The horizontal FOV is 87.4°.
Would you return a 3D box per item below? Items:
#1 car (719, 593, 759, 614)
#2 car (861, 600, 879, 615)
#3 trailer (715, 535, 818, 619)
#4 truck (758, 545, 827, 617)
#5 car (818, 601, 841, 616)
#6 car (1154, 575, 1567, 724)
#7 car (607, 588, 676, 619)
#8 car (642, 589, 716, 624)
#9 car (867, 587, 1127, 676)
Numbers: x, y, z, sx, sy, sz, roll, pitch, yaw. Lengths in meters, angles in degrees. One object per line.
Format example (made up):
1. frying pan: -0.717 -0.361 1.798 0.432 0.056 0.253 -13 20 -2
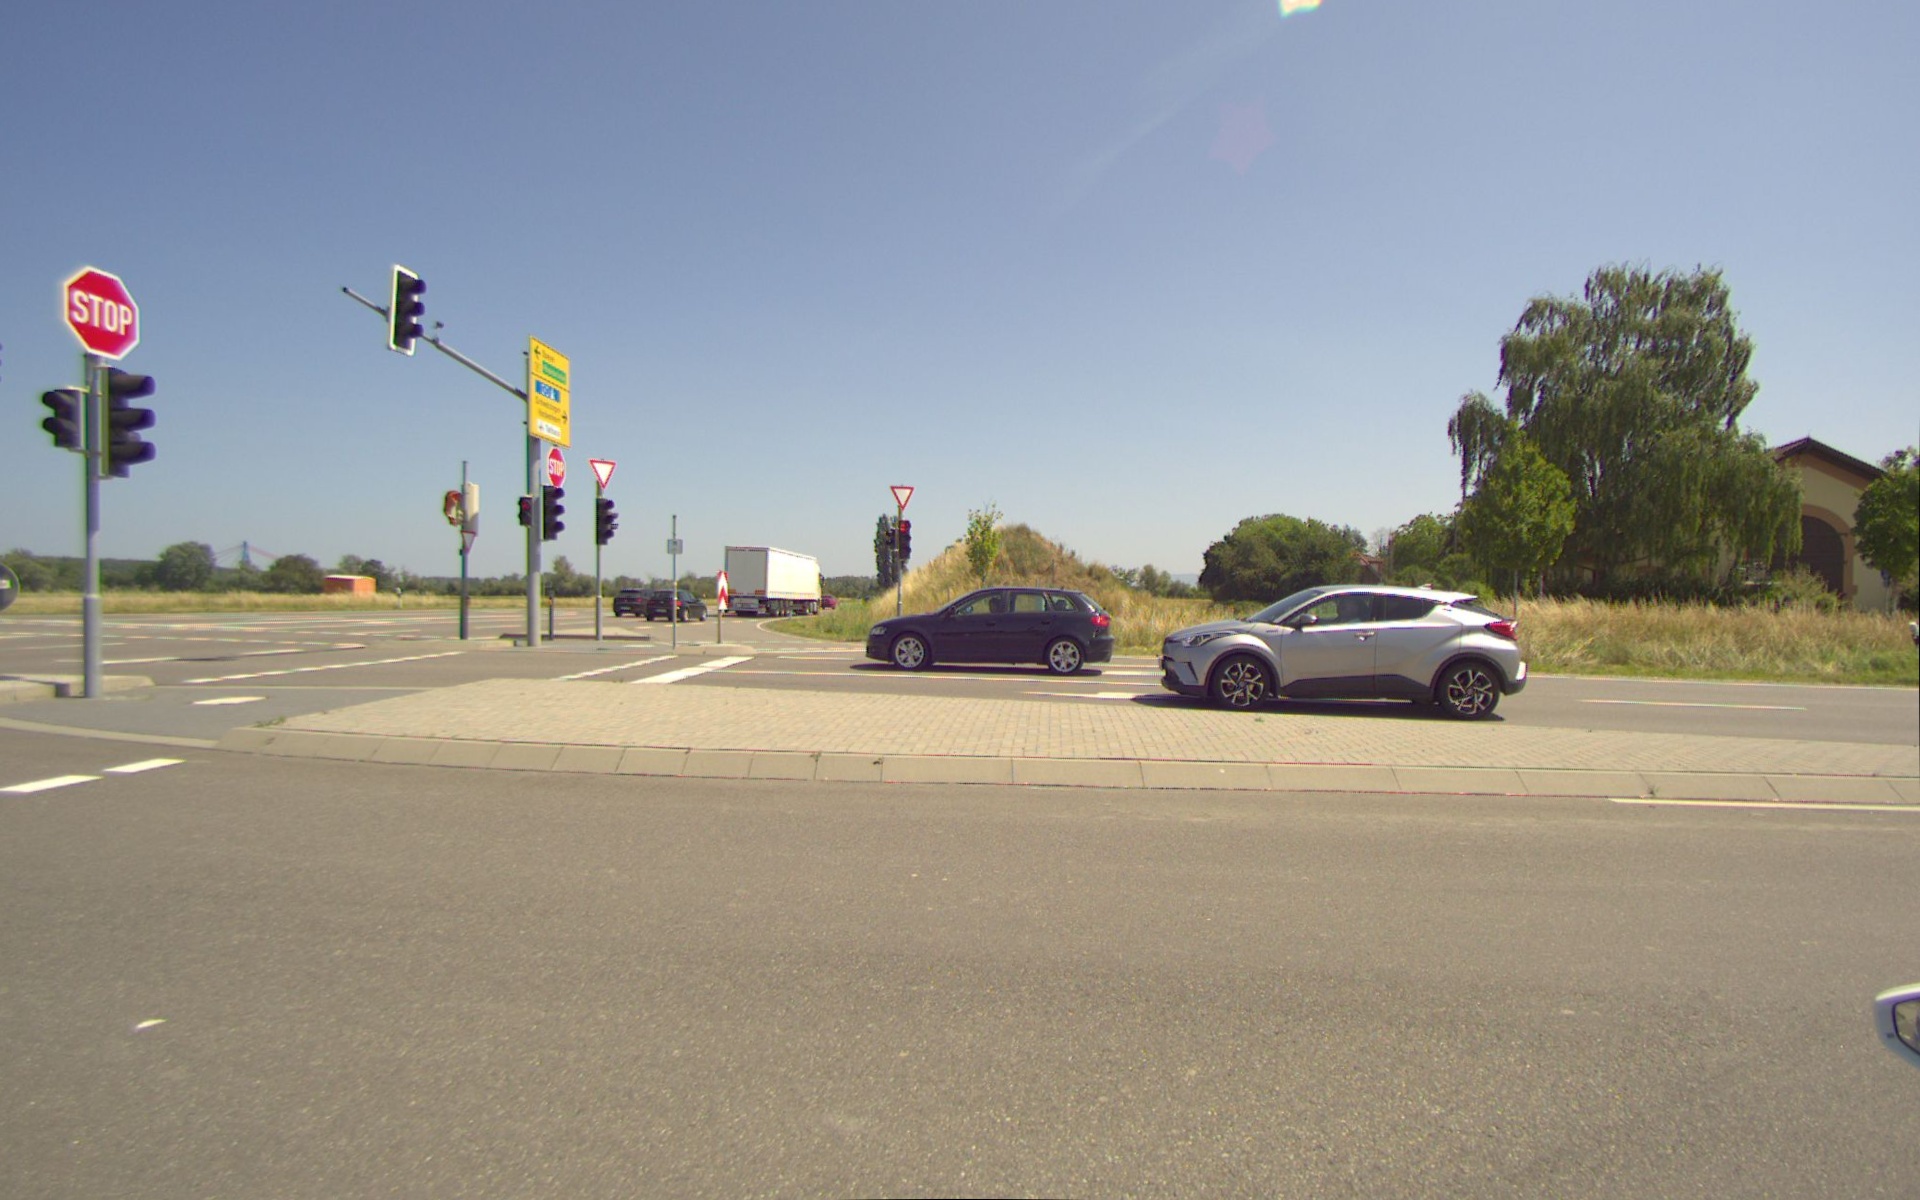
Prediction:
1. car: -15.425 0.259 70.364 1.647 1.430 4.468 2 -1 1
2. car: -12.656 1.047 141.451 1.947 1.919 4.468 2 -1 2
3. trailer: -11.727 -1.247 62.634 3.324 4.603 12.874 2 0 2
4. truck: -11.467 -1.218 69.454 3.324 4.603 6.374 2 0 2
5. car: -13.099 0.889 100.822 1.647 1.430 3.812 2 -1 1
6. car: 4.771 0.540 12.626 4.459 1.564 1.872 2 1 8
7. car: -16.288 0.181 51.550 1.857 1.466 4.527 2 -1 3
8. car: -12.650 0.288 45.511 1.754 1.450 4.382 2 0 5
9. car: 0.654 0.487 17.038 4.187 1.387 1.776 0 1 5
